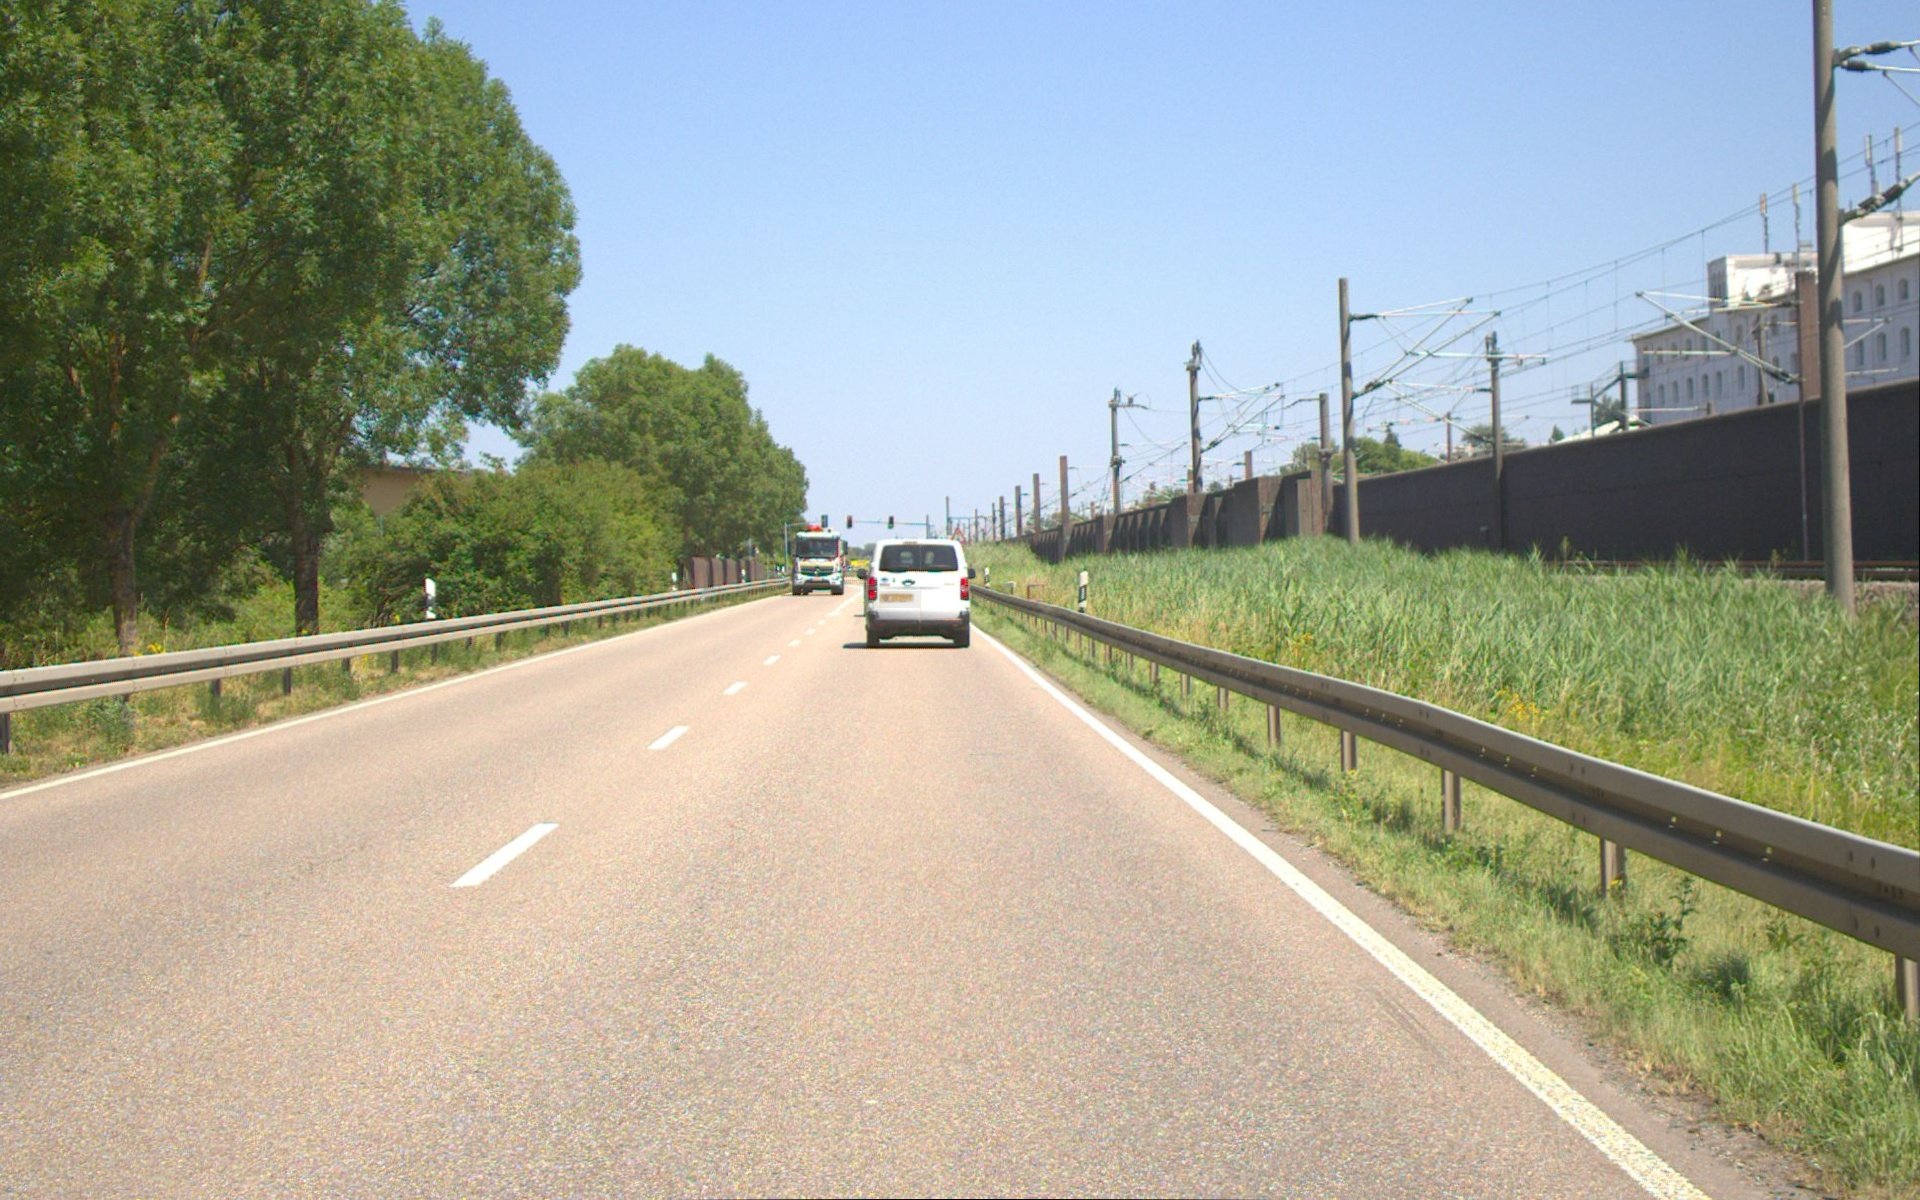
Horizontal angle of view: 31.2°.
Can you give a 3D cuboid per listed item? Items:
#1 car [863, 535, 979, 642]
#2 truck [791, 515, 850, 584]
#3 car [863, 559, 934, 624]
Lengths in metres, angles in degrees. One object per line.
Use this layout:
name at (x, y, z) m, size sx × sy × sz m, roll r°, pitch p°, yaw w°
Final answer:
car at (-0.713, -0.230, 61.980) m, size 1.993 × 1.844 × 4.000 m, roll 1°, pitch 1°, yaw -1°
truck at (-6.990, -2.532, 173.295) m, size 2.783 × 3.393 × 7.989 m, roll 1°, pitch 1°, yaw -1°
car at (-1.786, -0.263, 99.619) m, size 1.993 × 1.844 × 4.000 m, roll 1°, pitch 1°, yaw -1°
